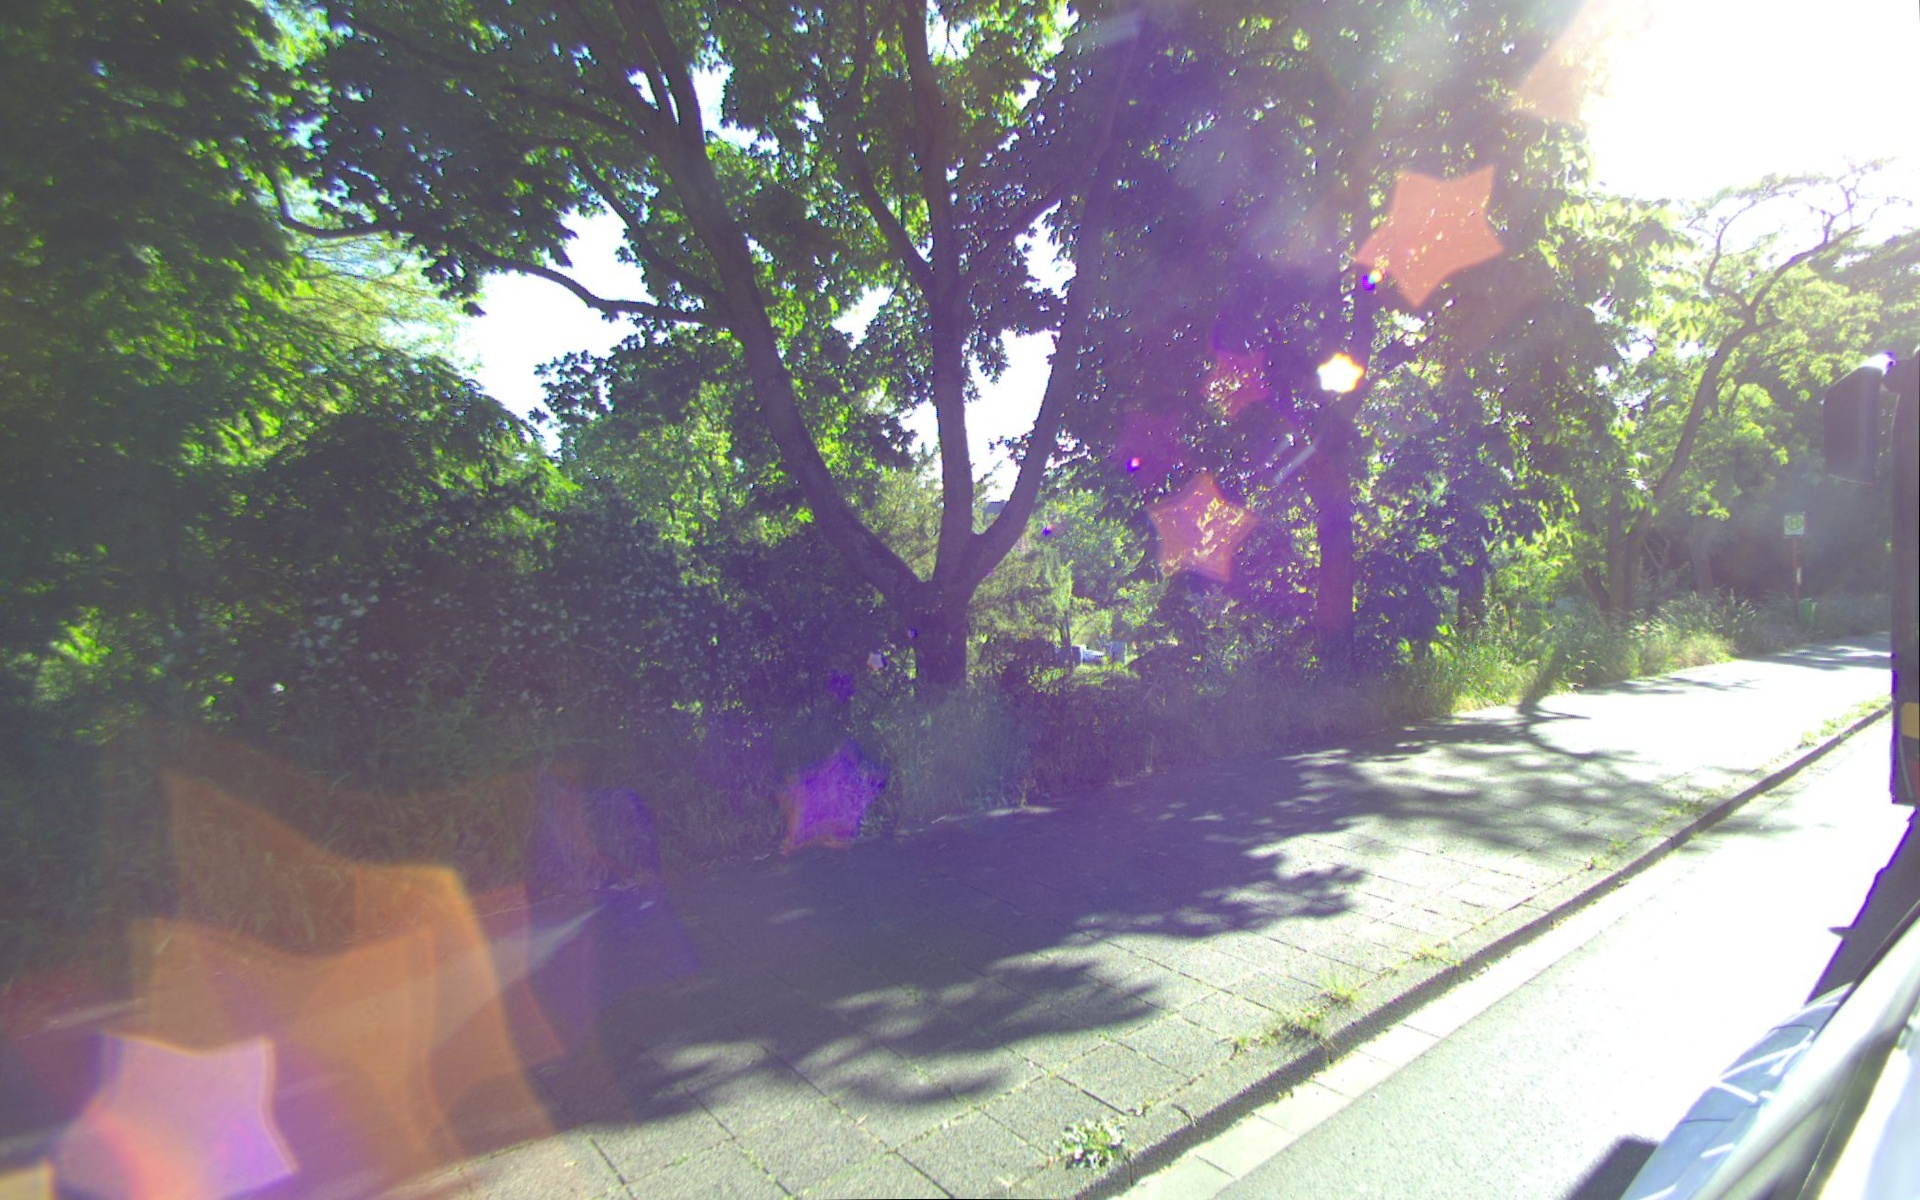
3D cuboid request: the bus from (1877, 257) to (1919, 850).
[{"bbox_3d":[10.393,-0.311,8.506,12.675,3.020,2.786,-1,1,-42],"label":"bus"}]
